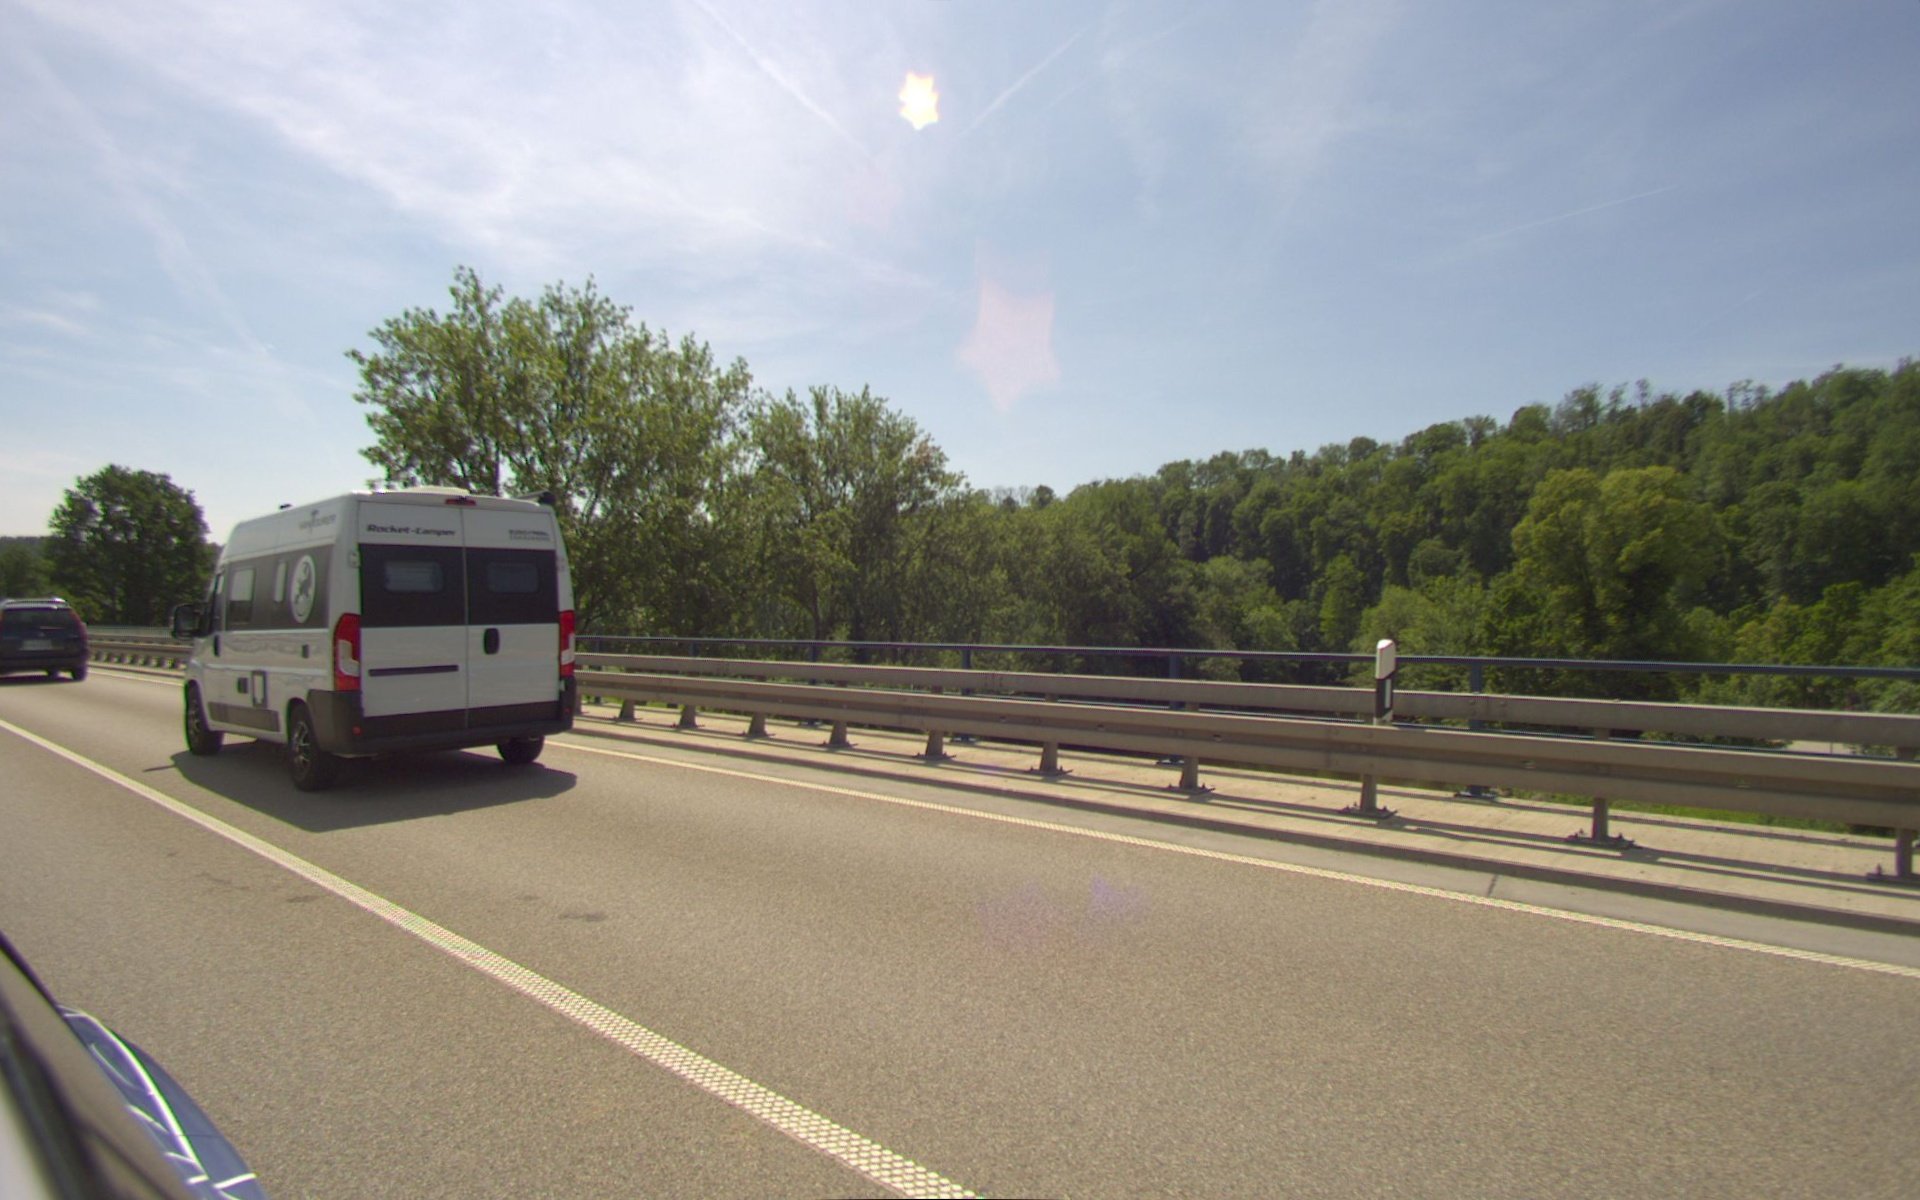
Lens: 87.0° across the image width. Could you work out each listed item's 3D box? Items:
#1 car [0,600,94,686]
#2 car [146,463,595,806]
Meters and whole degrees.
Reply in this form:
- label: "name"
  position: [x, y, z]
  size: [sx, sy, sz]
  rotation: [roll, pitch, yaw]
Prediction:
- label: "car"
  position: [-21.915, 0.947, 23.528]
  size: [4.972, 1.812, 1.834]
  rotation: [-1, -1, 39]
- label: "car"
  position: [-6.242, 0.258, 10.314]
  size: [5.792, 2.578, 2.157]
  rotation: [0, 0, 40]
